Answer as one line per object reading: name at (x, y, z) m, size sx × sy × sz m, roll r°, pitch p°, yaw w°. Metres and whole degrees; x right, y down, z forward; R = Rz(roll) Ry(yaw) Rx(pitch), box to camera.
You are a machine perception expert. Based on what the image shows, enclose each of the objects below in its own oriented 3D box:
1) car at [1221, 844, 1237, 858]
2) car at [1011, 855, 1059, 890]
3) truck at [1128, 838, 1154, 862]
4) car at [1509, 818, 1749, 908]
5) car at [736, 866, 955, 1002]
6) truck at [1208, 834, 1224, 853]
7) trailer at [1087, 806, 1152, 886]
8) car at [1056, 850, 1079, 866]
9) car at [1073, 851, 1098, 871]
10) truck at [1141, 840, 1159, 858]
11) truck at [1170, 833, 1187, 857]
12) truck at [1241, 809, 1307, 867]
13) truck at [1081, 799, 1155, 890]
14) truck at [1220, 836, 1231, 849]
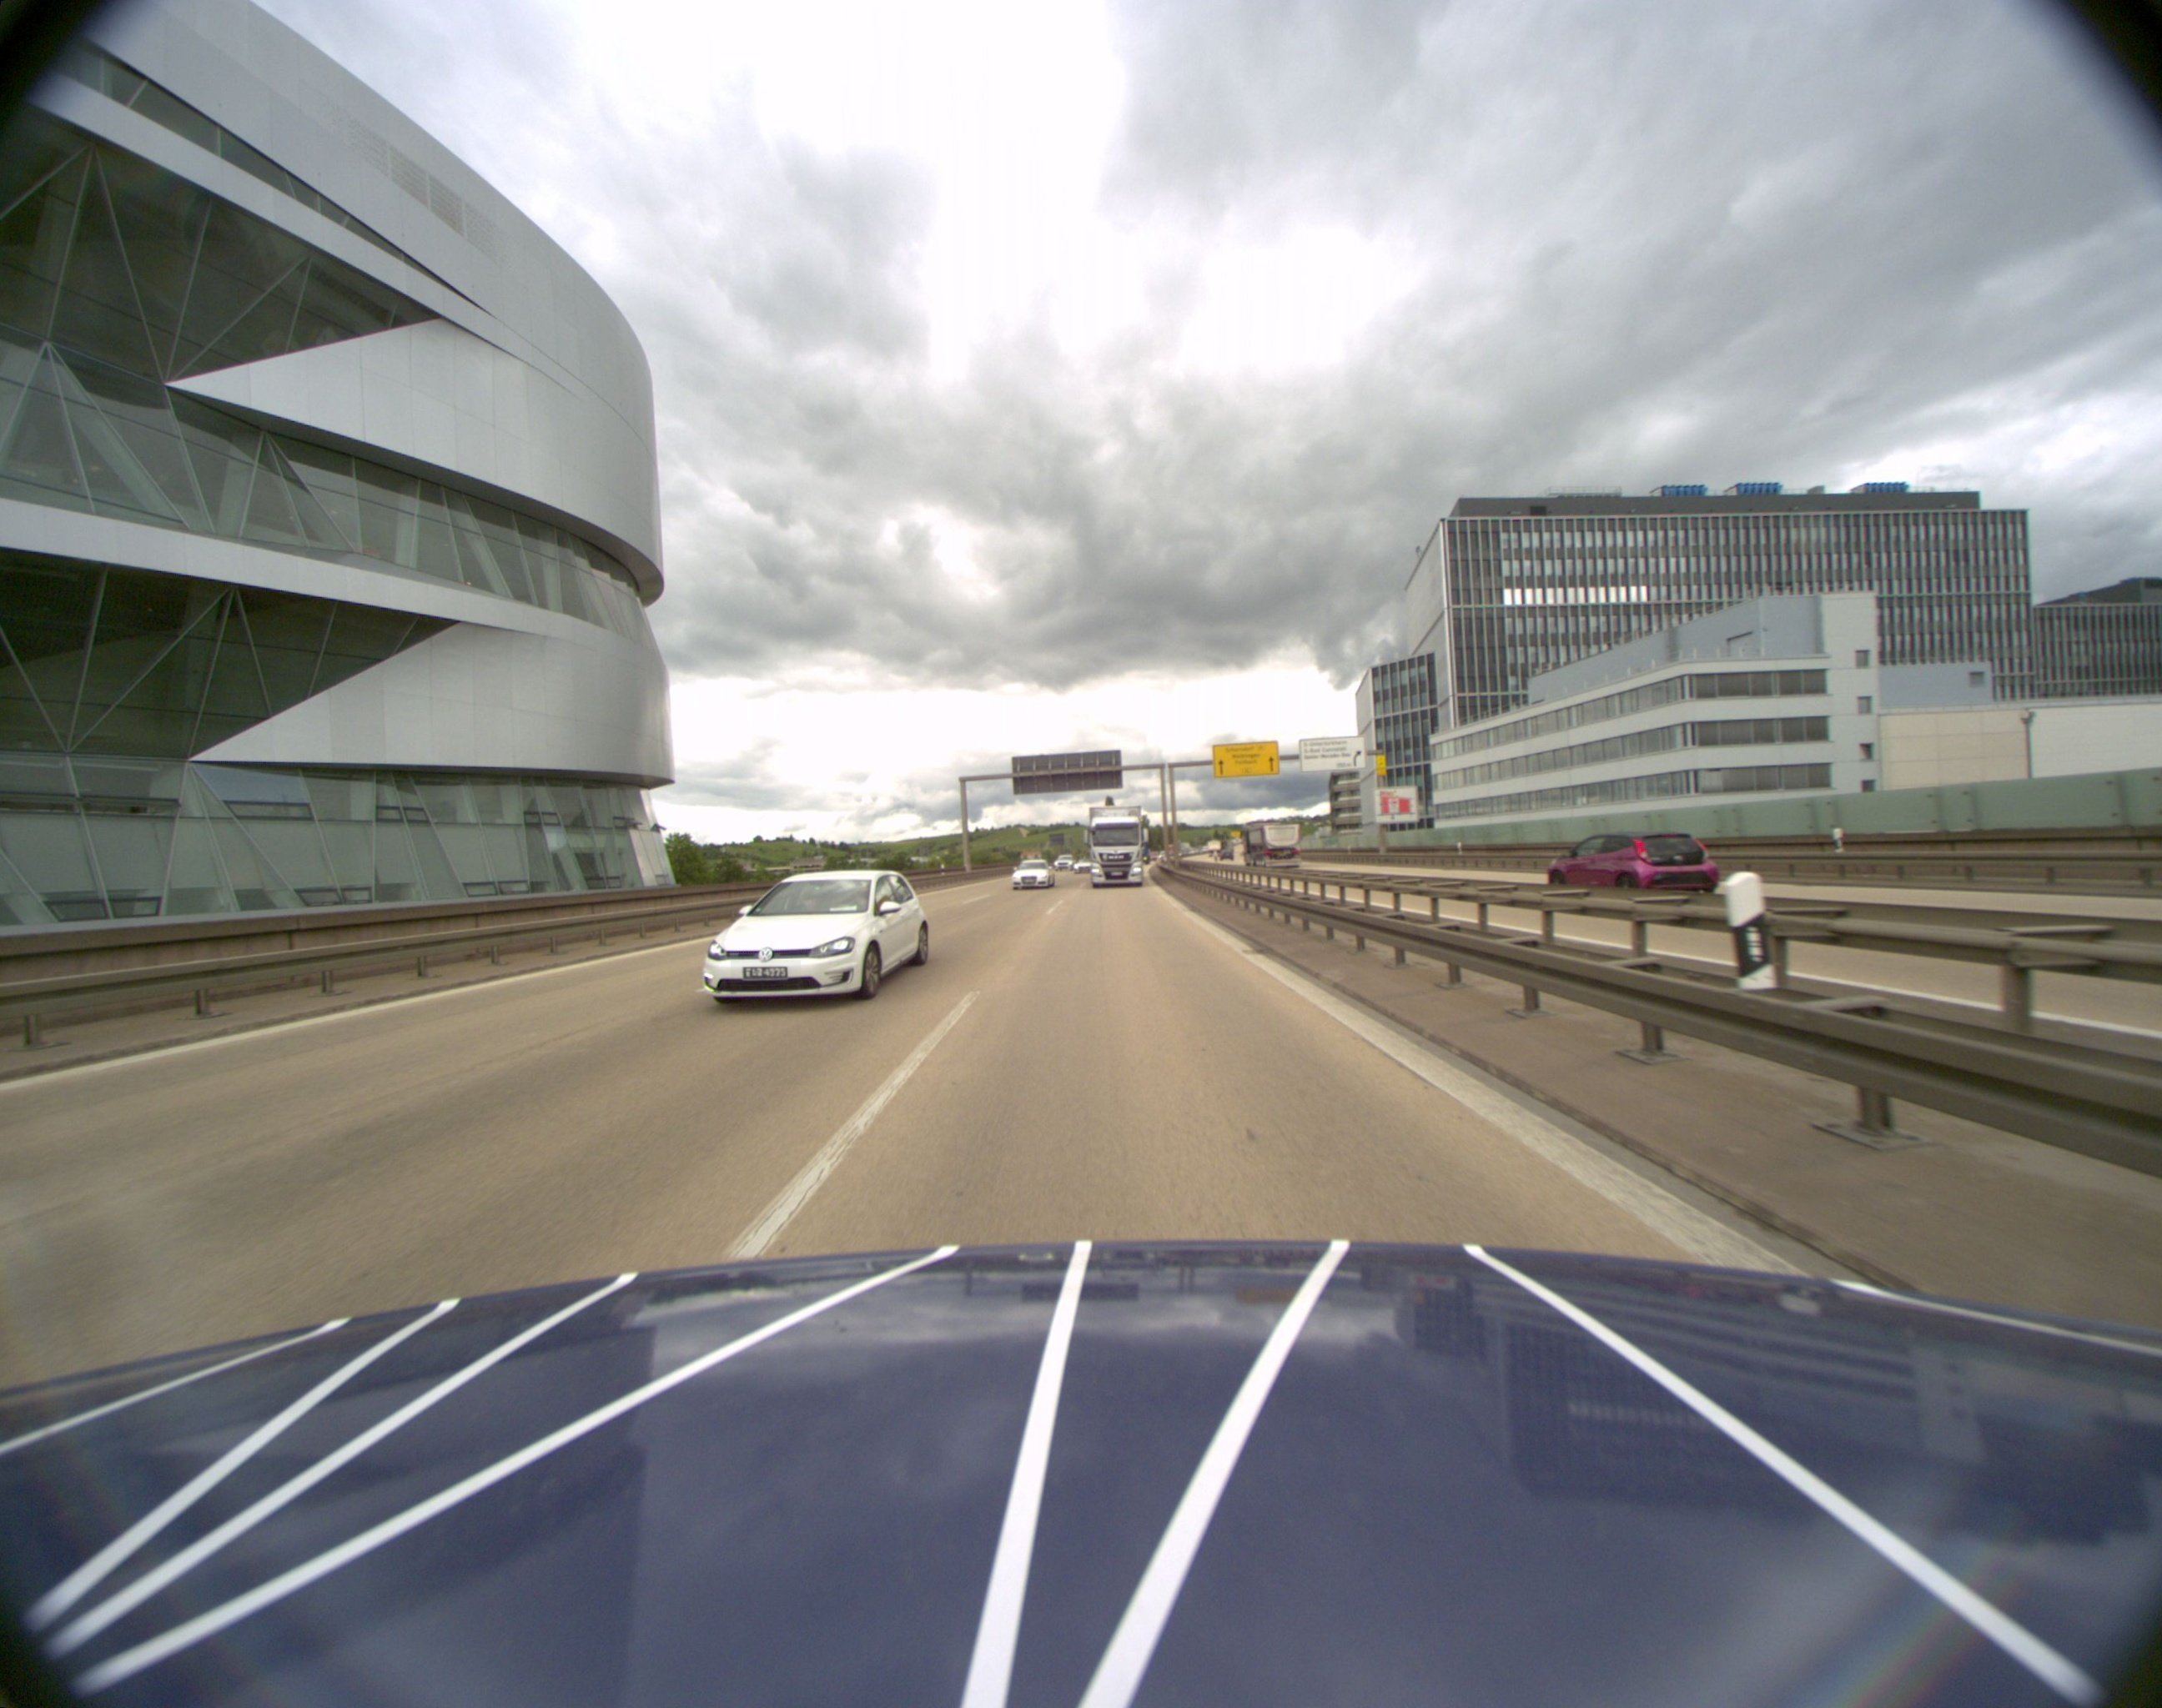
car at (19.150, -0.453, 98.474) m, size 1.997 × 1.665 × 4.411 m, roll -2°, pitch 1°, yaw 10°
car at (-2.246, 0.885, 38.397) m, size 1.930 × 1.499 × 4.061 m, roll -3°, pitch 0°, yaw 3°
truck at (8.613, -0.667, 107.701) m, size 3.063 × 3.168 × 8.308 m, roll -2°, pitch 1°, yaw 8°
car at (11.834, 0.143, 16.880) m, size 1.999 × 1.665 × 4.406 m, roll -2°, pitch 1°, yaw -3°
car at (-3.243, 1.020, 11.401) m, size 1.930 × 1.499 × 4.061 m, roll -2°, pitch 1°, yaw 1°
truck at (28.319, -2.187, 159.291) m, size 3.062 × 3.754 × 12.526 m, roll -2°, pitch 1°, yaw 10°
trailer at (2.325, -0.454, 45.627) m, size 3.189 × 4.003 × 11.767 m, roll -3°, pitch 0°, yaw 3°
car at (-1.402, 0.412, 80.402) m, size 1.930 × 1.585 × 4.062 m, roll -3°, pitch 0°, yaw 5°
car at (0.432, 0.601, 66.216) m, size 1.930 × 1.585 × 4.062 m, roll -3°, pitch 0°, yaw 4°
truck at (13.136, -0.936, 143.241) m, size 3.063 × 3.168 × 8.307 m, roll -2°, pitch 1°, yaw 7°
truck at (20.224, -1.883, 157.361) m, size 3.063 × 4.536 × 12.077 m, roll -2°, pitch 1°, yaw 8°
truck at (14.145, -1.155, 56.698) m, size 2.816 × 3.787 × 12.022 m, roll -2°, pitch 1°, yaw 5°
truck at (1.894, -0.457, 37.606) m, size 3.141 × 4.014 × 5.689 m, roll -3°, pitch 1°, yaw 4°
truck at (46.142, -3.645, 242.268) m, size 3.062 × 4.042 × 11.865 m, roll -2°, pitch 1°, yaw 11°
